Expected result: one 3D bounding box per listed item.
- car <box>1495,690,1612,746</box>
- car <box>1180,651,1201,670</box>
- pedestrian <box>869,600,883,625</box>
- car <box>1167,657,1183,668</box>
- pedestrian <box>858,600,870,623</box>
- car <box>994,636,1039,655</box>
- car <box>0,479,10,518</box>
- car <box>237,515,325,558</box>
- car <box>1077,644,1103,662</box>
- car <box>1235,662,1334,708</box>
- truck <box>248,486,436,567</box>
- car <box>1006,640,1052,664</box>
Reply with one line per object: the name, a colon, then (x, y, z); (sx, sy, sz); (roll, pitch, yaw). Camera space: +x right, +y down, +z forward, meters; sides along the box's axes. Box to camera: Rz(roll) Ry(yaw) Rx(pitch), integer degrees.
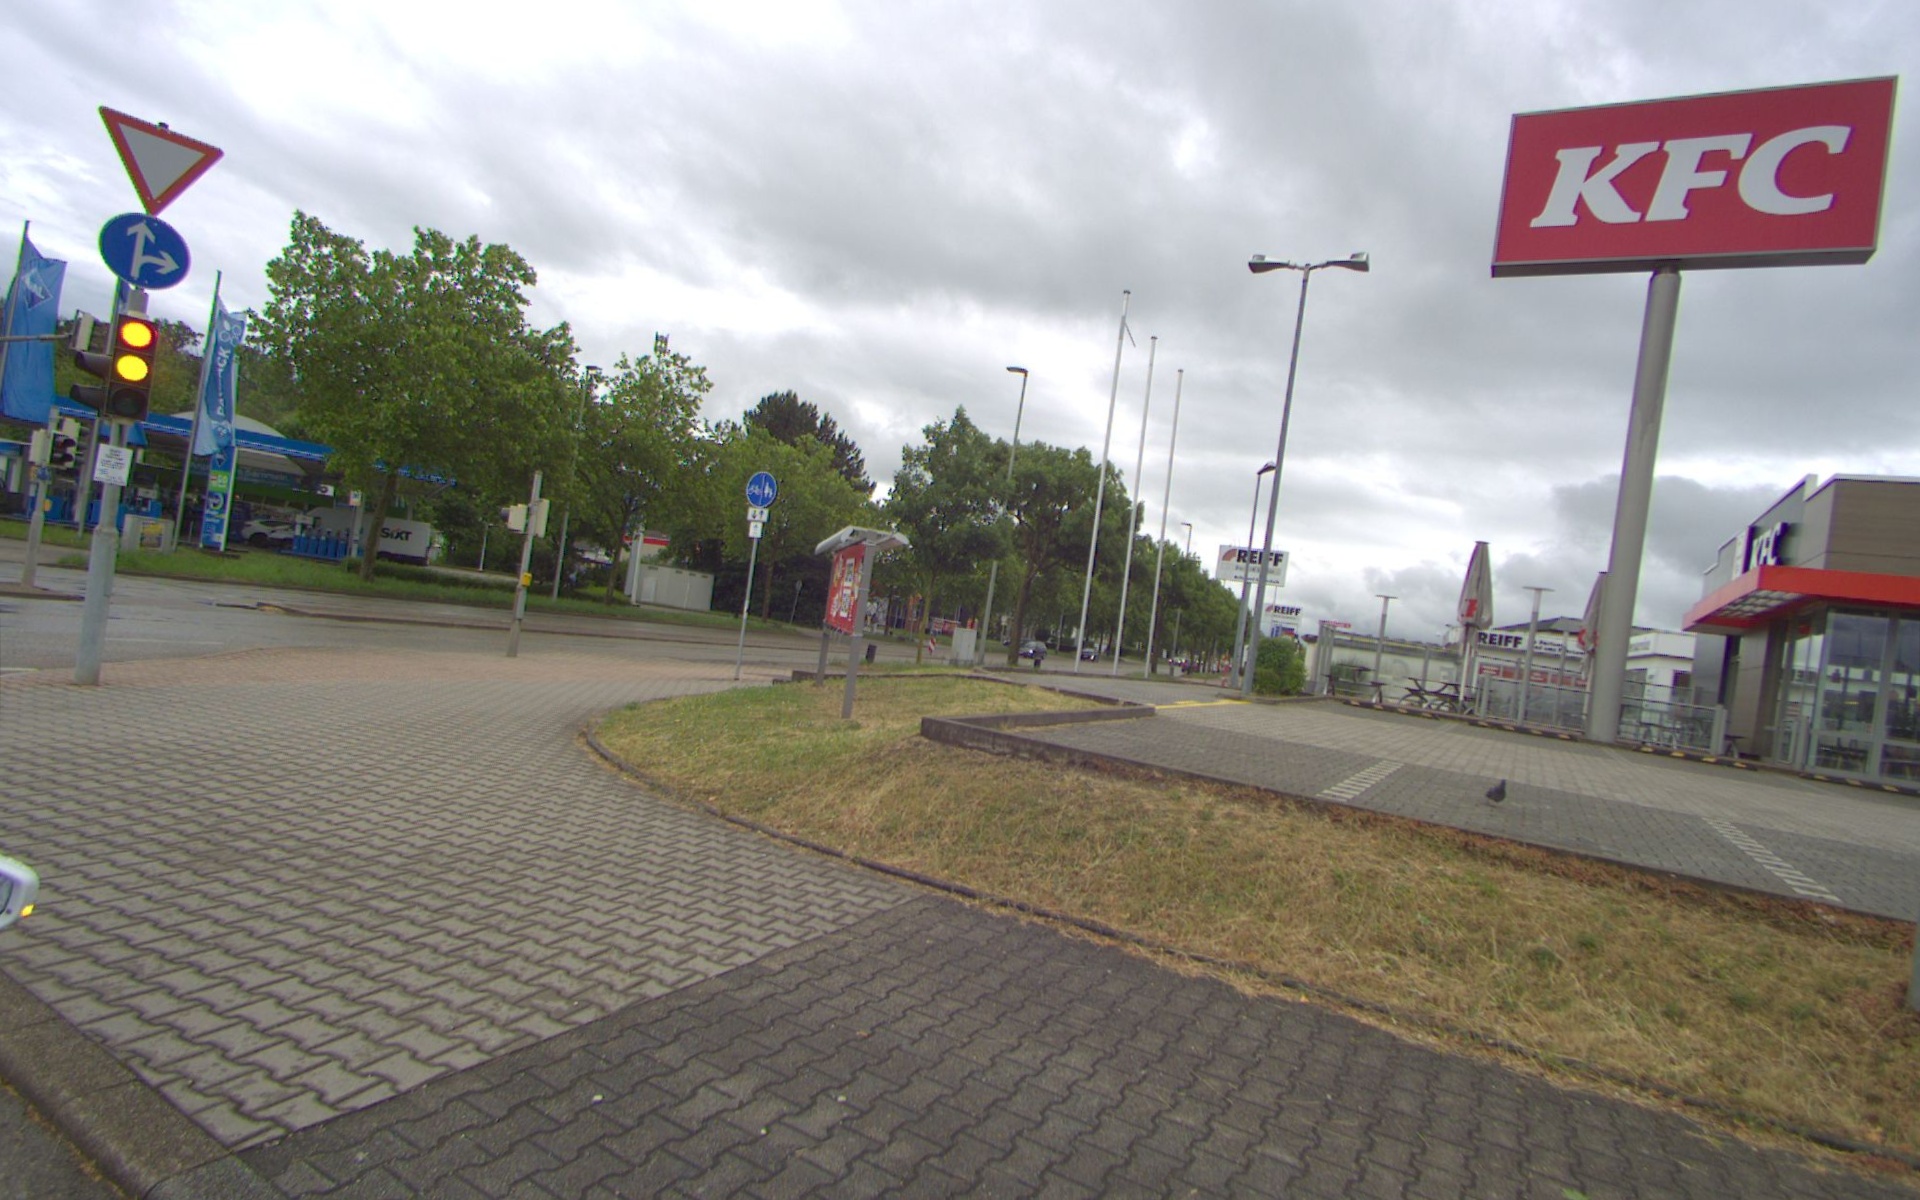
car: (24.649, 4.886, 41.967); (3.931, 1.699, 1.956); (7, -1, 28)
car: (27.330, 7.210, 119.152); (1.718, 2.037, 4.002); (7, -1, 19)
pedestrian: (-6.454, 0.951, 77.057); (0.657, 1.788, 0.580); (8, 0, 42)
car: (36.348, 10.617, 169.893); (1.784, 1.579, 4.602); (7, -2, 21)
pedestrian: (-7.358, 0.863, 76.967); (0.504, 1.703, 0.540); (6, 0, 21)
car: (6.146, 4.965, 109.307); (4.640, 1.525, 2.003); (7, -3, 5)
car: (-47.507, -5.094, 46.959); (4.082, 1.828, 1.933); (8, -2, -29)
car: (-36.355, -3.384, 53.983); (3.523, 1.600, 1.679); (10, -2, -27)
car: (13.770, 5.608, 106.337); (1.619, 1.526, 3.893); (6, -2, 24)
car: (15.562, 4.064, 48.256); (4.115, 1.570, 1.888); (7, -1, 28)
truck: (-31.356, -3.674, 51.376); (7.800, 2.706, 2.136); (9, -1, -33)
car: (5.616, 4.218, 81.266); (1.965, 1.526, 4.727); (6, -1, 26)
